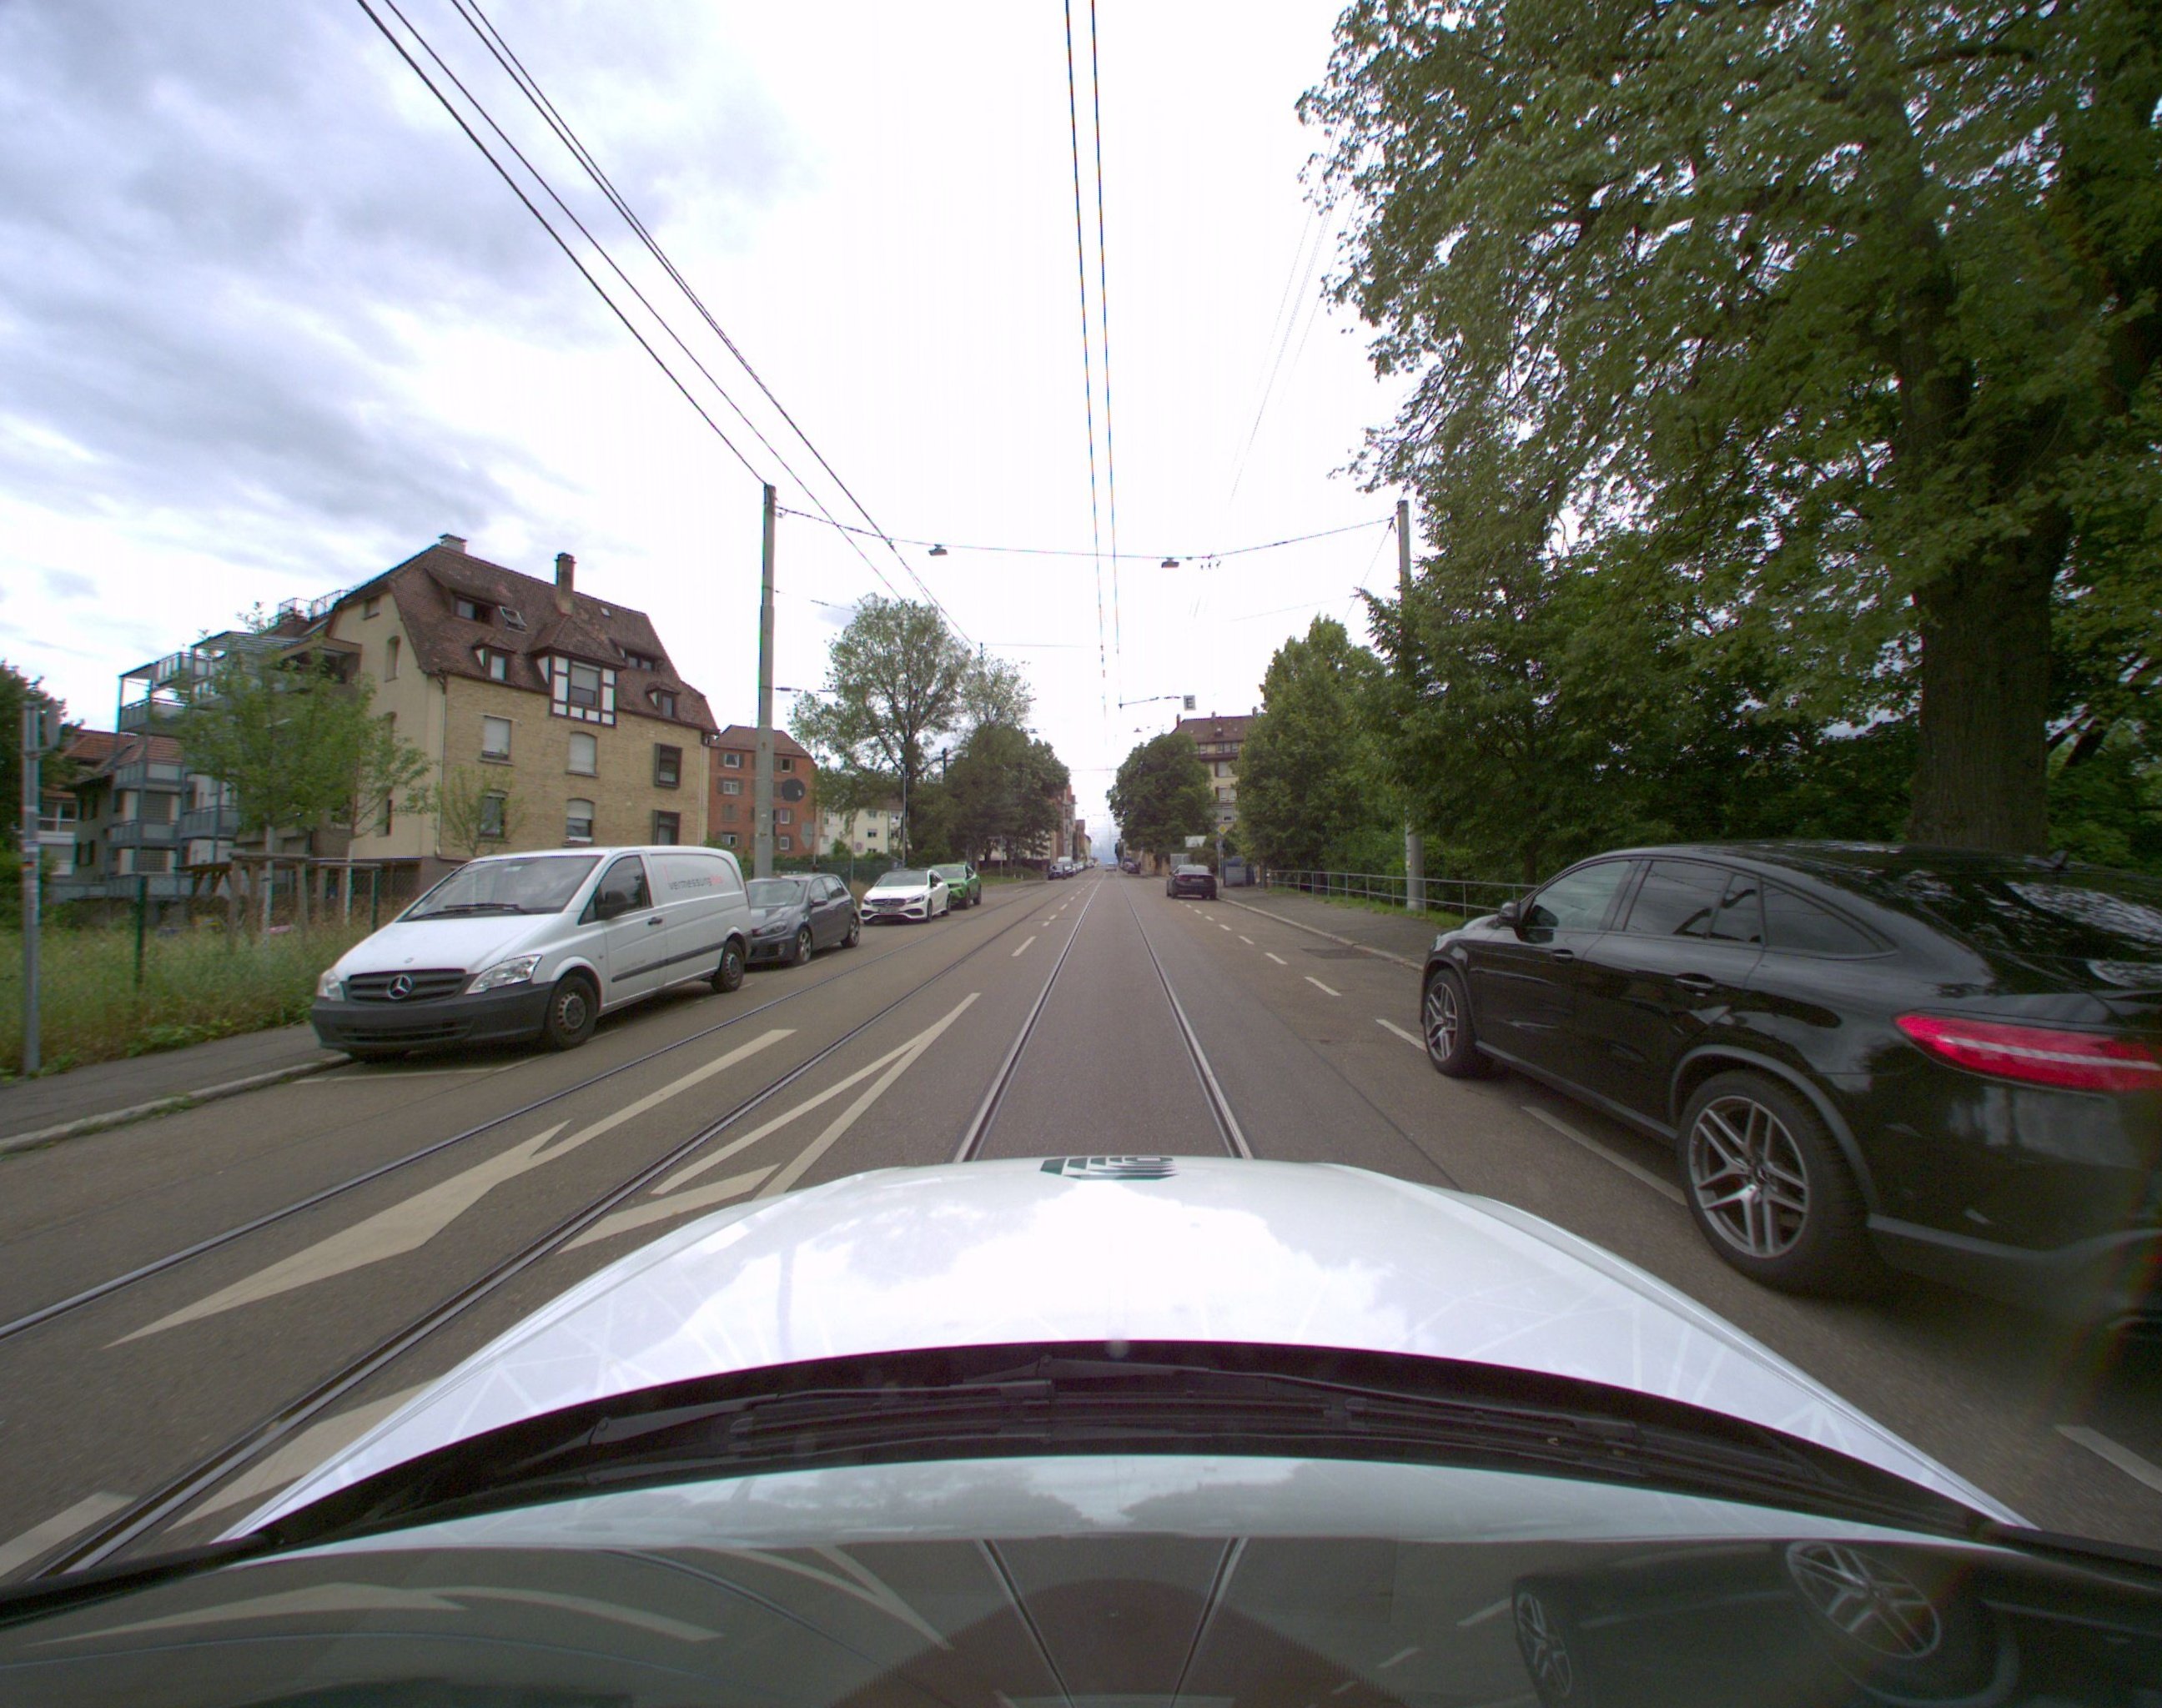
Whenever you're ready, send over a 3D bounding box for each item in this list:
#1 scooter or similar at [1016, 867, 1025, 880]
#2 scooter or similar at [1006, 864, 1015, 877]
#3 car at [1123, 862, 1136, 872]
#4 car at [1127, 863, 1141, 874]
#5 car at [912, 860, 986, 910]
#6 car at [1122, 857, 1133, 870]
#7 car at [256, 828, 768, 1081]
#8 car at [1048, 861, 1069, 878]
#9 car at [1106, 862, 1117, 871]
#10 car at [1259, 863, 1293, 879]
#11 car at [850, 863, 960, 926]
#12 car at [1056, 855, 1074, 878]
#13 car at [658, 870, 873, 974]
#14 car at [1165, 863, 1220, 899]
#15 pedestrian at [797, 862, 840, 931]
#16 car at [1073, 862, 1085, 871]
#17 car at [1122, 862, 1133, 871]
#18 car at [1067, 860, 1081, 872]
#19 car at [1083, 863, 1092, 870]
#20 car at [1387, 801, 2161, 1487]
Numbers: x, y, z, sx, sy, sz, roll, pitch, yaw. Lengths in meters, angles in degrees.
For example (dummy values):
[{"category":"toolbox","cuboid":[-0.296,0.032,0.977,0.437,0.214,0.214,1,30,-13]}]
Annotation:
[{"category":"scooter or similar","cuboid":[-6.286,2.030,84.357,0.688,1.339,1.640,0,-2,3]},{"category":"scooter or similar","cuboid":[-7.269,1.755,84.488,0.688,1.339,1.640,0,-2,3]},{"category":"car","cuboid":[8.258,2.226,138.843,1.986,1.717,4.002,-1,-1,2]},{"category":"car","cuboid":[7.637,2.147,117.971,1.985,1.530,4.315,0,-1,3]},{"category":"car","cuboid":[-4.537,1.039,28.512,1.716,1.580,4.183,-2,-1,2]},{"category":"car","cuboid":[8.968,1.854,156.644,1.985,2.574,4.707,-1,-2,2]},{"category":"car","cuboid":[-5.439,0.852,8.873,2.029,1.881,4.885,-3,-1,1]},{"category":"car","cuboid":[-2.462,1.745,89.173,1.985,1.808,4.003,0,-1,3]},{"category":"car","cuboid":[5.276,2.164,142.058,1.986,1.499,4.313,0,-1,2]},{"category":"car","cuboid":[18.882,1.661,78.770,1.974,1.479,4.491,-1,-2,30]},{"category":"car","cuboid":[-4.802,1.055,22.928,1.878,1.526,4.665,-2,-1,2]},{"category":"car","cuboid":[-2.009,1.598,103.669,2.223,2.764,5.798,0,-1,0]},{"category":"car","cuboid":[-5.288,1.065,14.421,1.889,1.433,4.513,-2,0,2]},{"category":"car","cuboid":[4.695,1.119,34.935,1.821,1.430,4.849,1,-1,2]},{"category":"pedestrian","cuboid":[-6.300,1.009,19.562,0.804,1.629,0.914,0,-2,-8]},{"category":"car","cuboid":[-0.343,2.358,147.486,1.916,1.601,4.002,0,-1,2]},{"category":"car","cuboid":[8.554,2.344,151.135,1.986,1.651,4.002,-1,-1,2]},{"category":"car","cuboid":[-1.111,1.984,130.673,1.985,1.812,4.315,0,-1,3]},{"category":"car","cuboid":[1.459,2.786,186.994,1.986,1.601,4.001,0,-1,2]},{"category":"car","cuboid":[3.497,0.755,4.520,1.870,1.678,5.065,1,0,2]}]
